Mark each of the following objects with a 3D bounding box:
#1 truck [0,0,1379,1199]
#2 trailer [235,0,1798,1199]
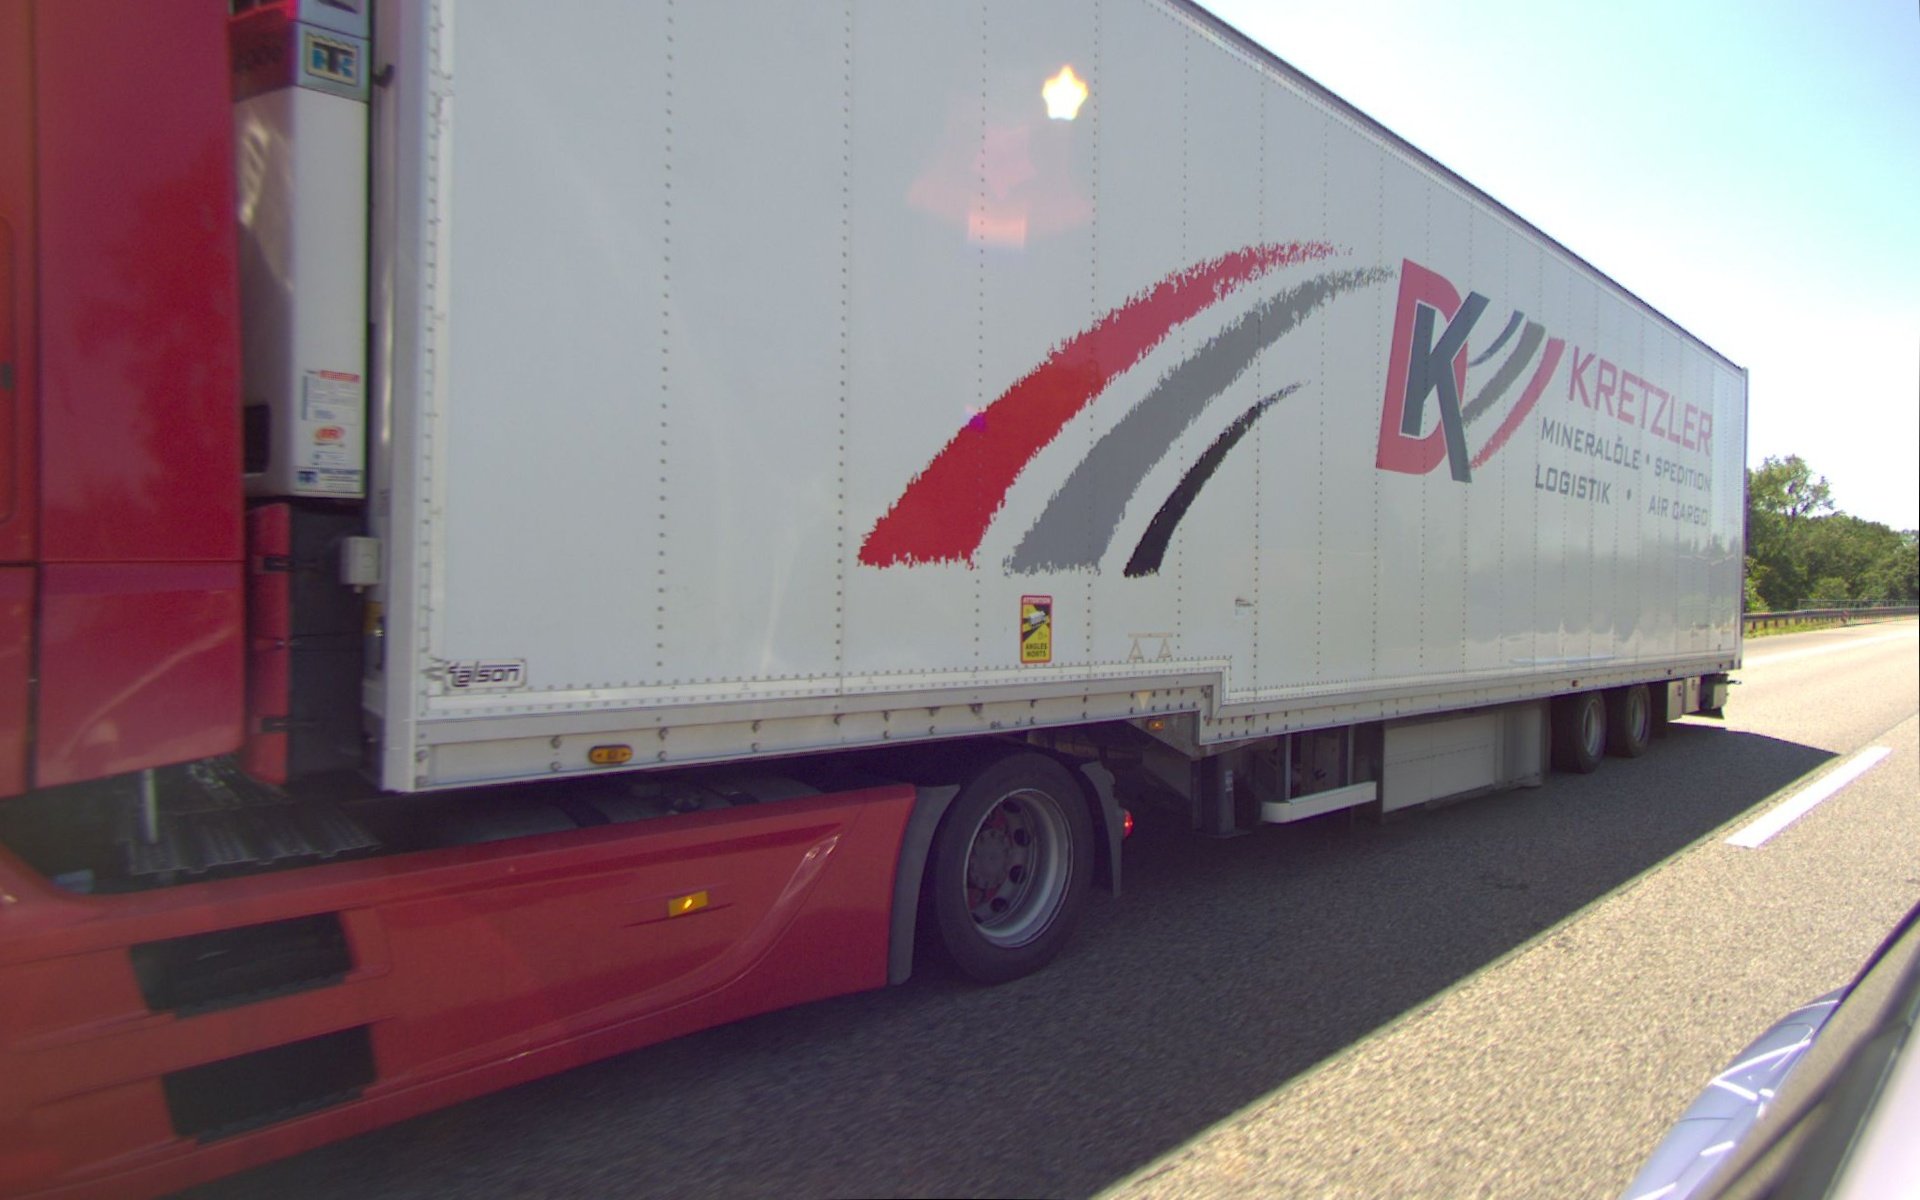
[{"bbox_3d":[-1.548,-1.087,4.126,6.848,4.951,3.241,0,0,-40],"label":"truck"},{"bbox_3d":[2.920,-1.089,7.948,13.780,4.898,3.276,0,0,-40],"label":"trailer"}]
